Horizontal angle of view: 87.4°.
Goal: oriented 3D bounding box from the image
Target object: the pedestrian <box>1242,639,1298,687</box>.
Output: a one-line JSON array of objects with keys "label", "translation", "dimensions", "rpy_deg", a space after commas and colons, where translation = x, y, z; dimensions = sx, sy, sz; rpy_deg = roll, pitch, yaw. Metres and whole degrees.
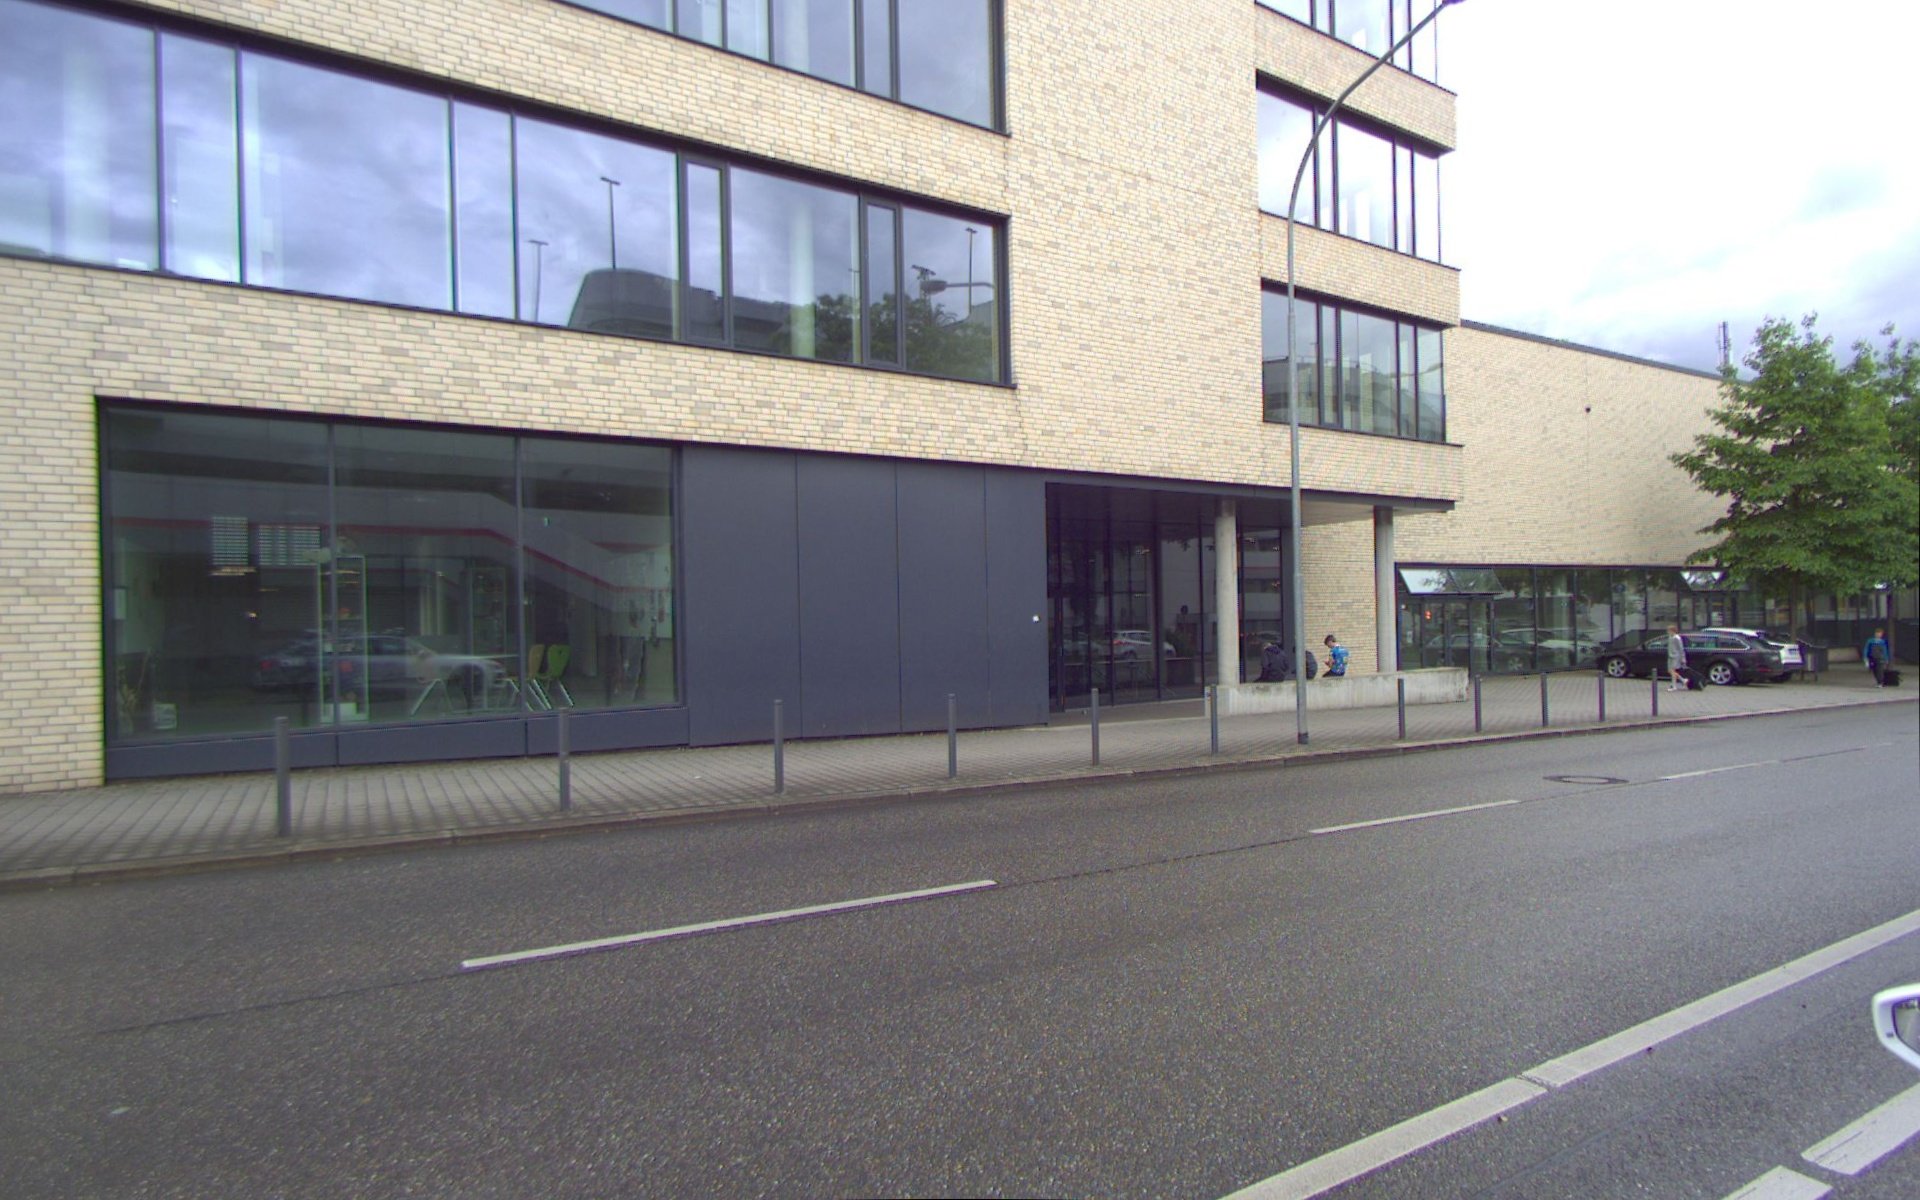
[{"label": "pedestrian", "translation": [5.857, 1.186, 19.004], "dimensions": [0.752, 0.796, 0.595], "rpy_deg": [9, -4, -30]}]

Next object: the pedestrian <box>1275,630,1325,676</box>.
[{"label": "pedestrian", "translation": [6.609, 1.019, 19.516], "dimensions": [0.719, 0.856, 0.583], "rpy_deg": [2, -1, -30]}]

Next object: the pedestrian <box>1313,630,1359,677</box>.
[{"label": "pedestrian", "translation": [7.523, 1.072, 20.115], "dimensions": [0.519, 0.897, 0.676], "rpy_deg": [2, 0, -36]}]

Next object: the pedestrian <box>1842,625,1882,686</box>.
[{"label": "pedestrian", "translation": [26.936, 1.642, 29.988], "dimensions": [0.745, 1.748, 0.685], "rpy_deg": [0, 1, -31]}]

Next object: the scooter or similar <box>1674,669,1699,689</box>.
[{"label": "scooter or similar", "translation": [18.738, 2.038, 25.899], "dimensions": [0.608, 0.507, 0.279], "rpy_deg": [2, 0, -29]}]

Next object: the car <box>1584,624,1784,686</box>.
[{"label": "car", "translation": [21.327, 1.562, 29.740], "dimensions": [1.981, 1.608, 4.437], "rpy_deg": [1, -1, -36]}]

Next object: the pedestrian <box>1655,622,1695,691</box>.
[{"label": "pedestrian", "translation": [18.343, 1.427, 25.772], "dimensions": [0.473, 1.720, 0.672], "rpy_deg": [0, 1, -30]}]

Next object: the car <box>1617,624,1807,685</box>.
[{"label": "car", "translation": [23.544, 1.644, 31.605], "dimensions": [1.980, 1.595, 4.388], "rpy_deg": [-1, 1, -35]}]

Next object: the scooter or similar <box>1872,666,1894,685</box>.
[{"label": "scooter or similar", "translation": [27.766, 2.279, 30.228], "dimensions": [0.493, 0.543, 0.358], "rpy_deg": [3, -1, -31]}]
